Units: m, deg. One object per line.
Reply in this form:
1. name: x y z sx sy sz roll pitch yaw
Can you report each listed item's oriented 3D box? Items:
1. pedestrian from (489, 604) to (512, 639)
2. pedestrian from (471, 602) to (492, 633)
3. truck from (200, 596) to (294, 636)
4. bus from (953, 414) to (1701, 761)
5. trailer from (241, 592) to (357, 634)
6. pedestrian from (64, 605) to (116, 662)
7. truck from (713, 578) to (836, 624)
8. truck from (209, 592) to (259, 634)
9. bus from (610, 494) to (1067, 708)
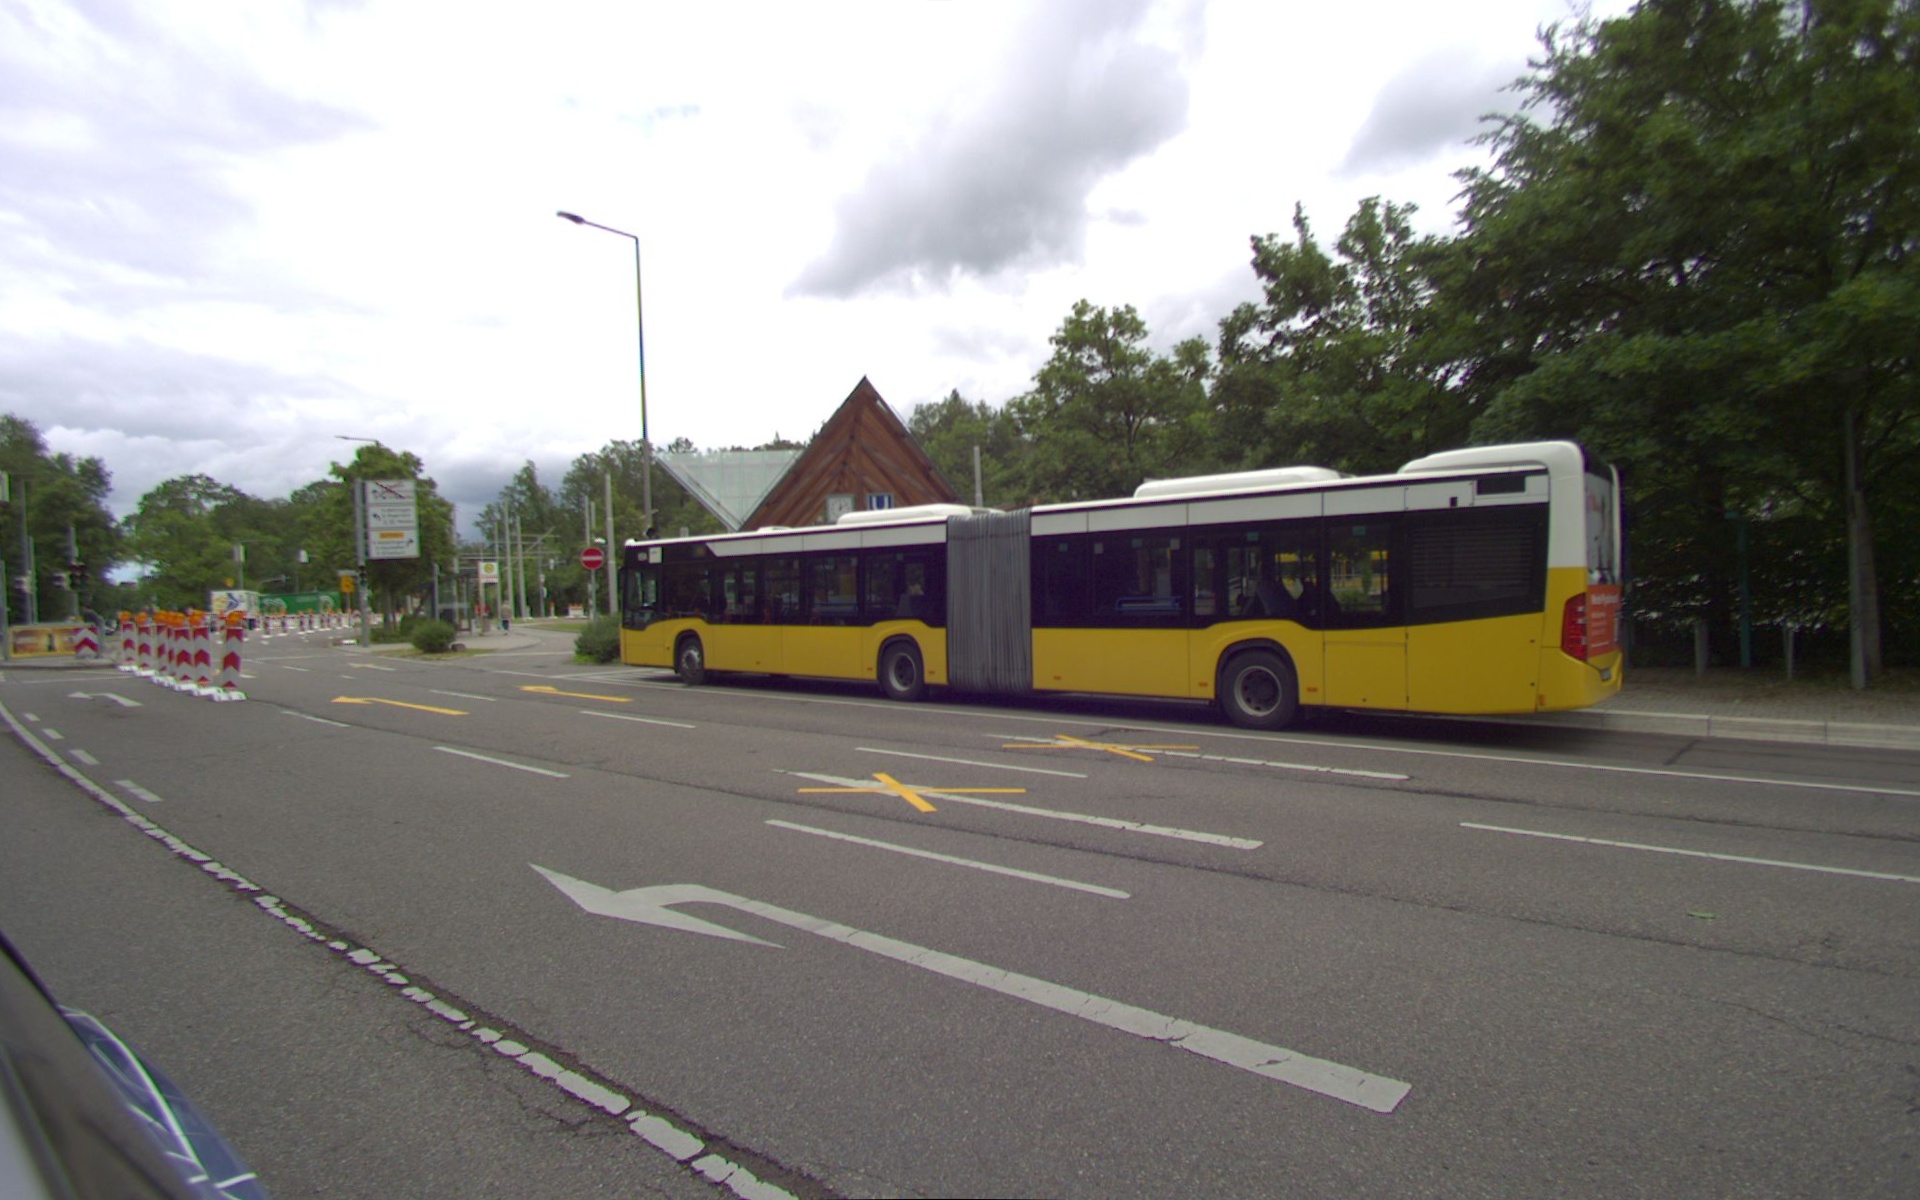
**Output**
1. pedestrian: -21.162 0.968 46.629 0.860 1.536 0.770 -3 1 -25
2. pedestrian: -24.428 0.885 51.665 0.779 1.563 0.777 -3 1 -38
3. truck: -79.212 1.787 112.492 8.692 3.910 3.770 -3 1 16
4. bus: 4.099 -0.060 13.147 8.690 3.150 2.868 -1 -1 41
5. trailer: -72.069 1.436 110.350 11.761 3.910 3.770 -3 1 16
6. pedestrian: -29.028 1.106 33.779 0.761 1.822 0.988 -3 1 21
7. truck: -10.264 0.059 55.919 6.263 2.186 2.587 -3 1 24
8. truck: -59.210 1.061 82.664 2.592 3.263 6.225 0 -1 -29
9. bus: -2.805 0.079 19.265 9.755 3.150 2.868 -1 -1 41
